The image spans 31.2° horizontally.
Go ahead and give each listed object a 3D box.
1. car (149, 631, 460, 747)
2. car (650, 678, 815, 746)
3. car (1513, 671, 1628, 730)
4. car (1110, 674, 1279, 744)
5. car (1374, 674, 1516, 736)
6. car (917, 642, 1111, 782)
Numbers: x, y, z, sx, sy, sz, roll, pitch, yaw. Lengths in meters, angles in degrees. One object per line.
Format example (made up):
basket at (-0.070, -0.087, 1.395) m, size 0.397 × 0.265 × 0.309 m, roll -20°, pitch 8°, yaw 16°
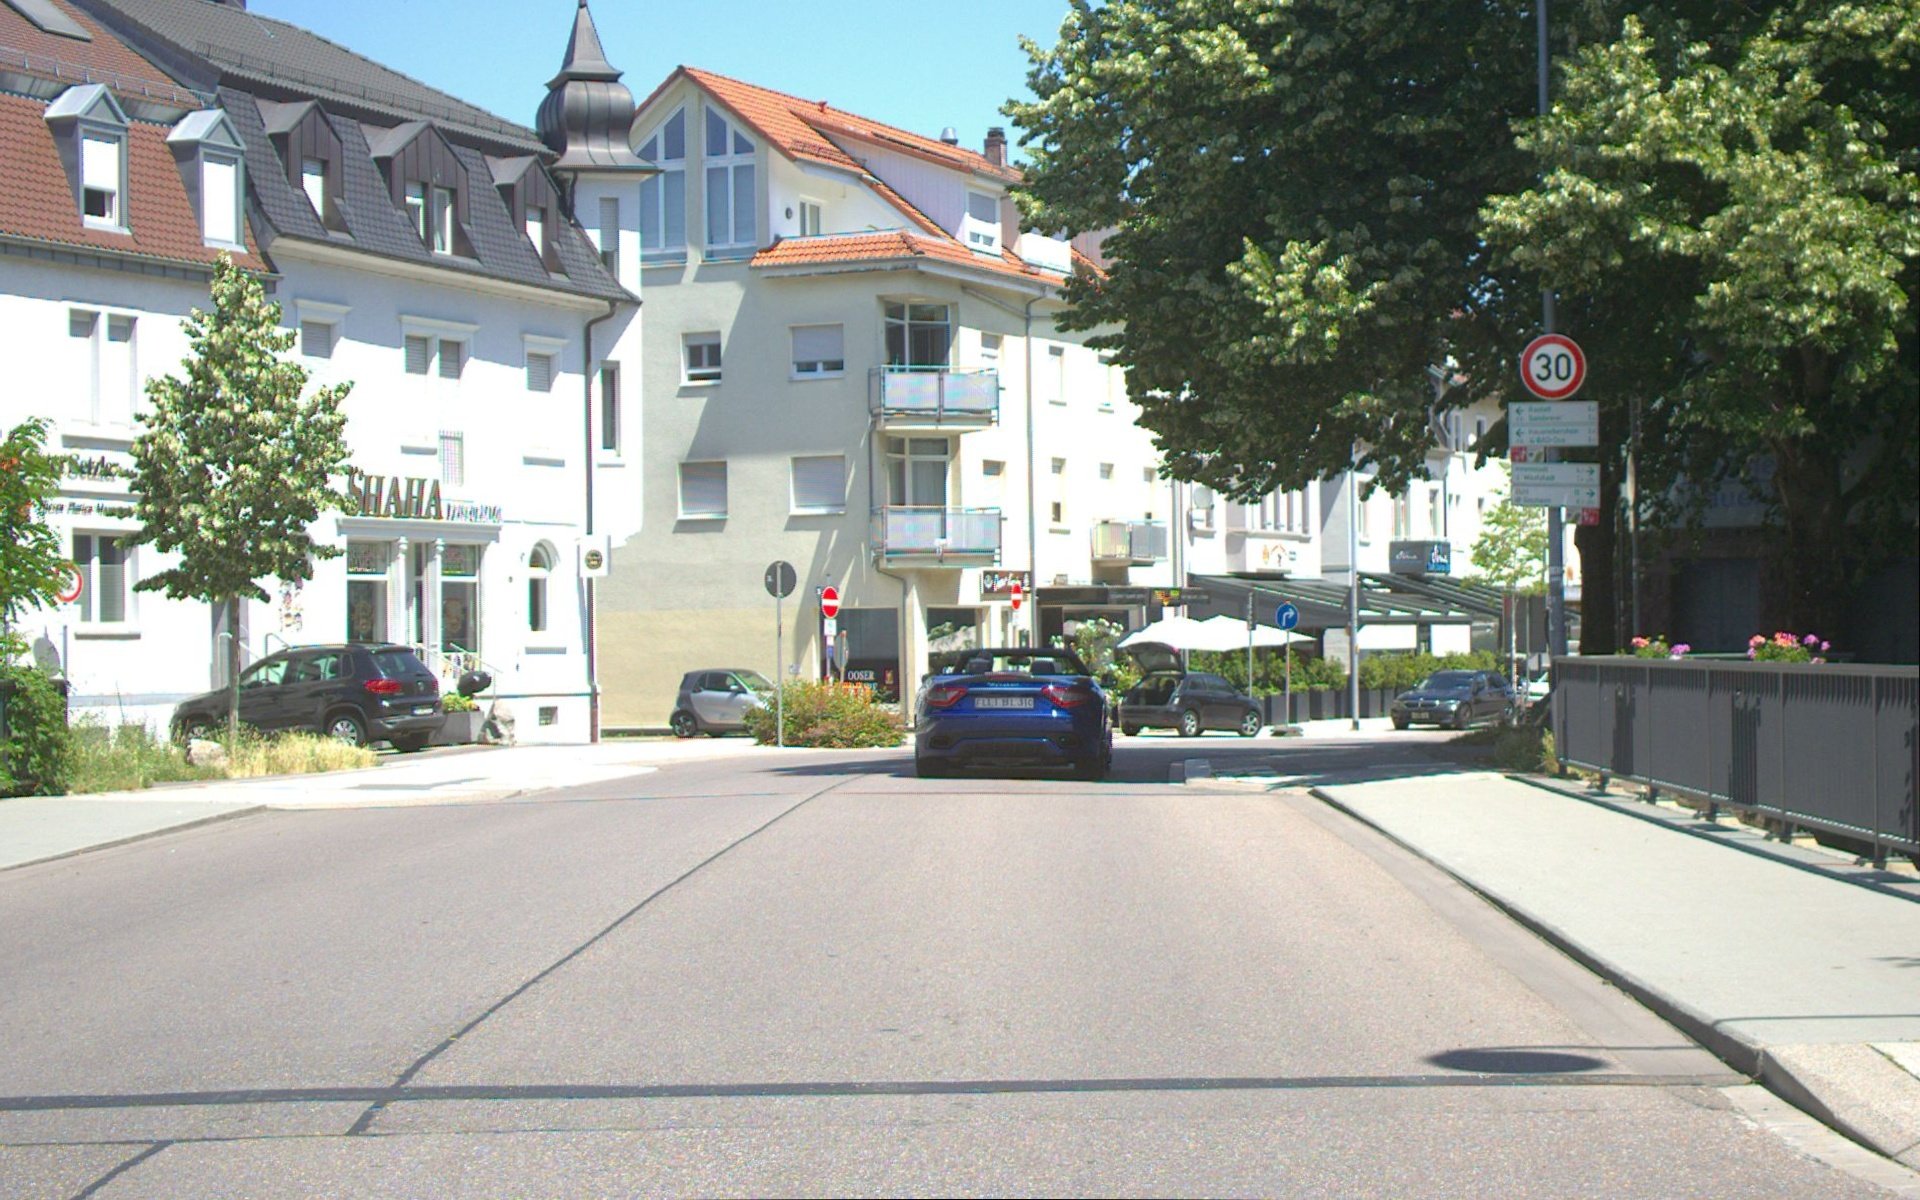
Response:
car at (-9.803, 1.345, 51.450) m, size 4.185 × 1.657 × 1.968 m, roll -1°, pitch -2°, yaw 23°
car at (-5.106, 2.520, 77.280) m, size 3.266 × 1.453 × 1.690 m, roll -1°, pitch -1°, yaw 22°
car at (16.139, 2.634, 90.781) m, size 1.648 × 1.474 × 3.933 m, roll 0°, pitch 0°, yaw 32°
car at (5.186, 2.407, 75.671) m, size 1.716 × 1.456 × 4.120 m, roll 1°, pitch -1°, yaw 37°
car at (11.926, 2.554, 84.353) m, size 1.837 × 1.425 × 4.774 m, roll 0°, pitch -1°, yaw 29°
car at (0.560, 1.117, 35.547) m, size 1.870 × 1.338 × 4.595 m, roll 0°, pitch -1°, yaw 1°
